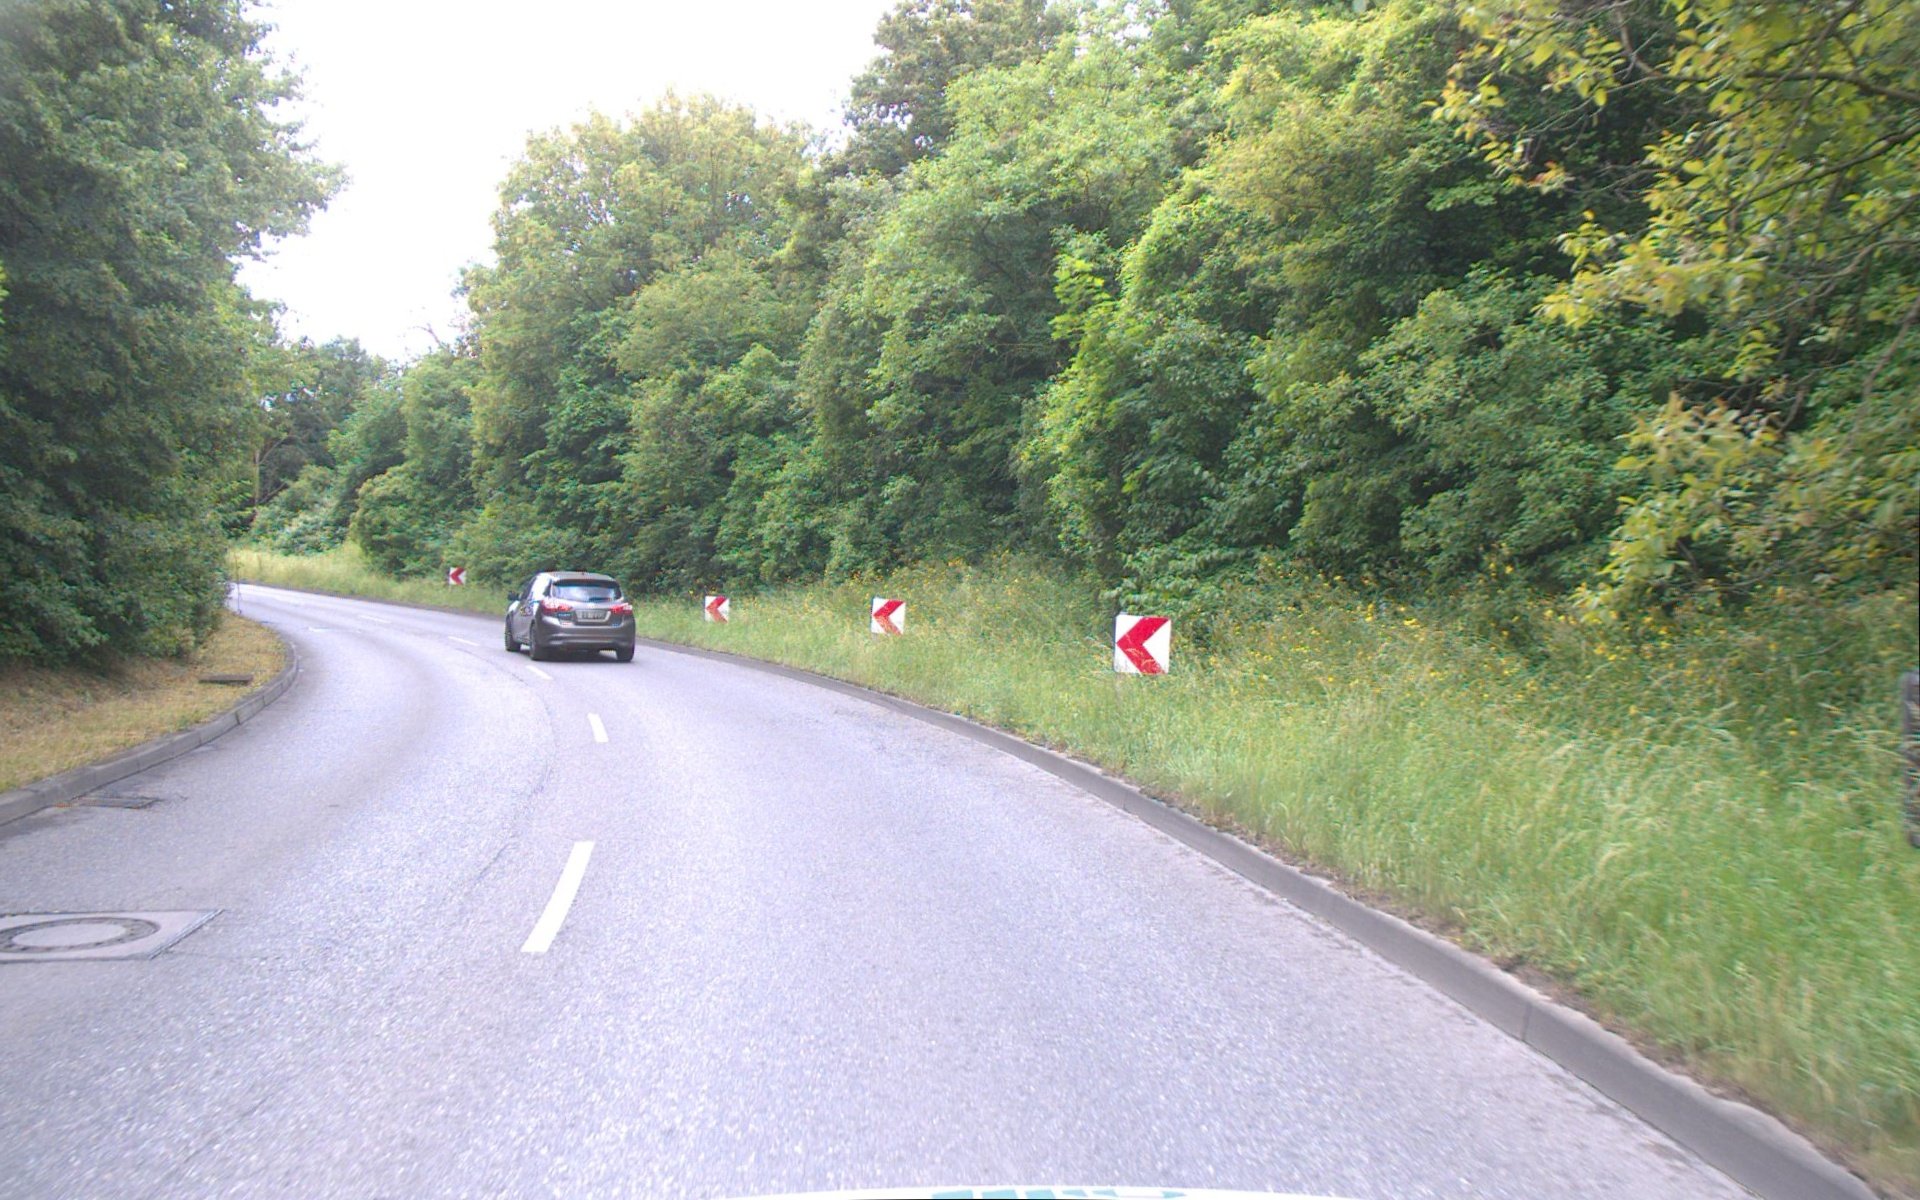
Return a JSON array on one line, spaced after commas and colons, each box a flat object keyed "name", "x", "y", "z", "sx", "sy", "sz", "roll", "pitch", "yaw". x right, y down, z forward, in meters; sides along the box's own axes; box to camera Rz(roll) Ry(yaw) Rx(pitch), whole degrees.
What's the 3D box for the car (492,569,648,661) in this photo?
[{"name": "car", "x": -7.146, "y": 0.248, "z": 30.022, "sx": 1.818, "sy": 1.509, "sz": 3.965, "roll": 3, "pitch": -1, "yaw": -27}]
